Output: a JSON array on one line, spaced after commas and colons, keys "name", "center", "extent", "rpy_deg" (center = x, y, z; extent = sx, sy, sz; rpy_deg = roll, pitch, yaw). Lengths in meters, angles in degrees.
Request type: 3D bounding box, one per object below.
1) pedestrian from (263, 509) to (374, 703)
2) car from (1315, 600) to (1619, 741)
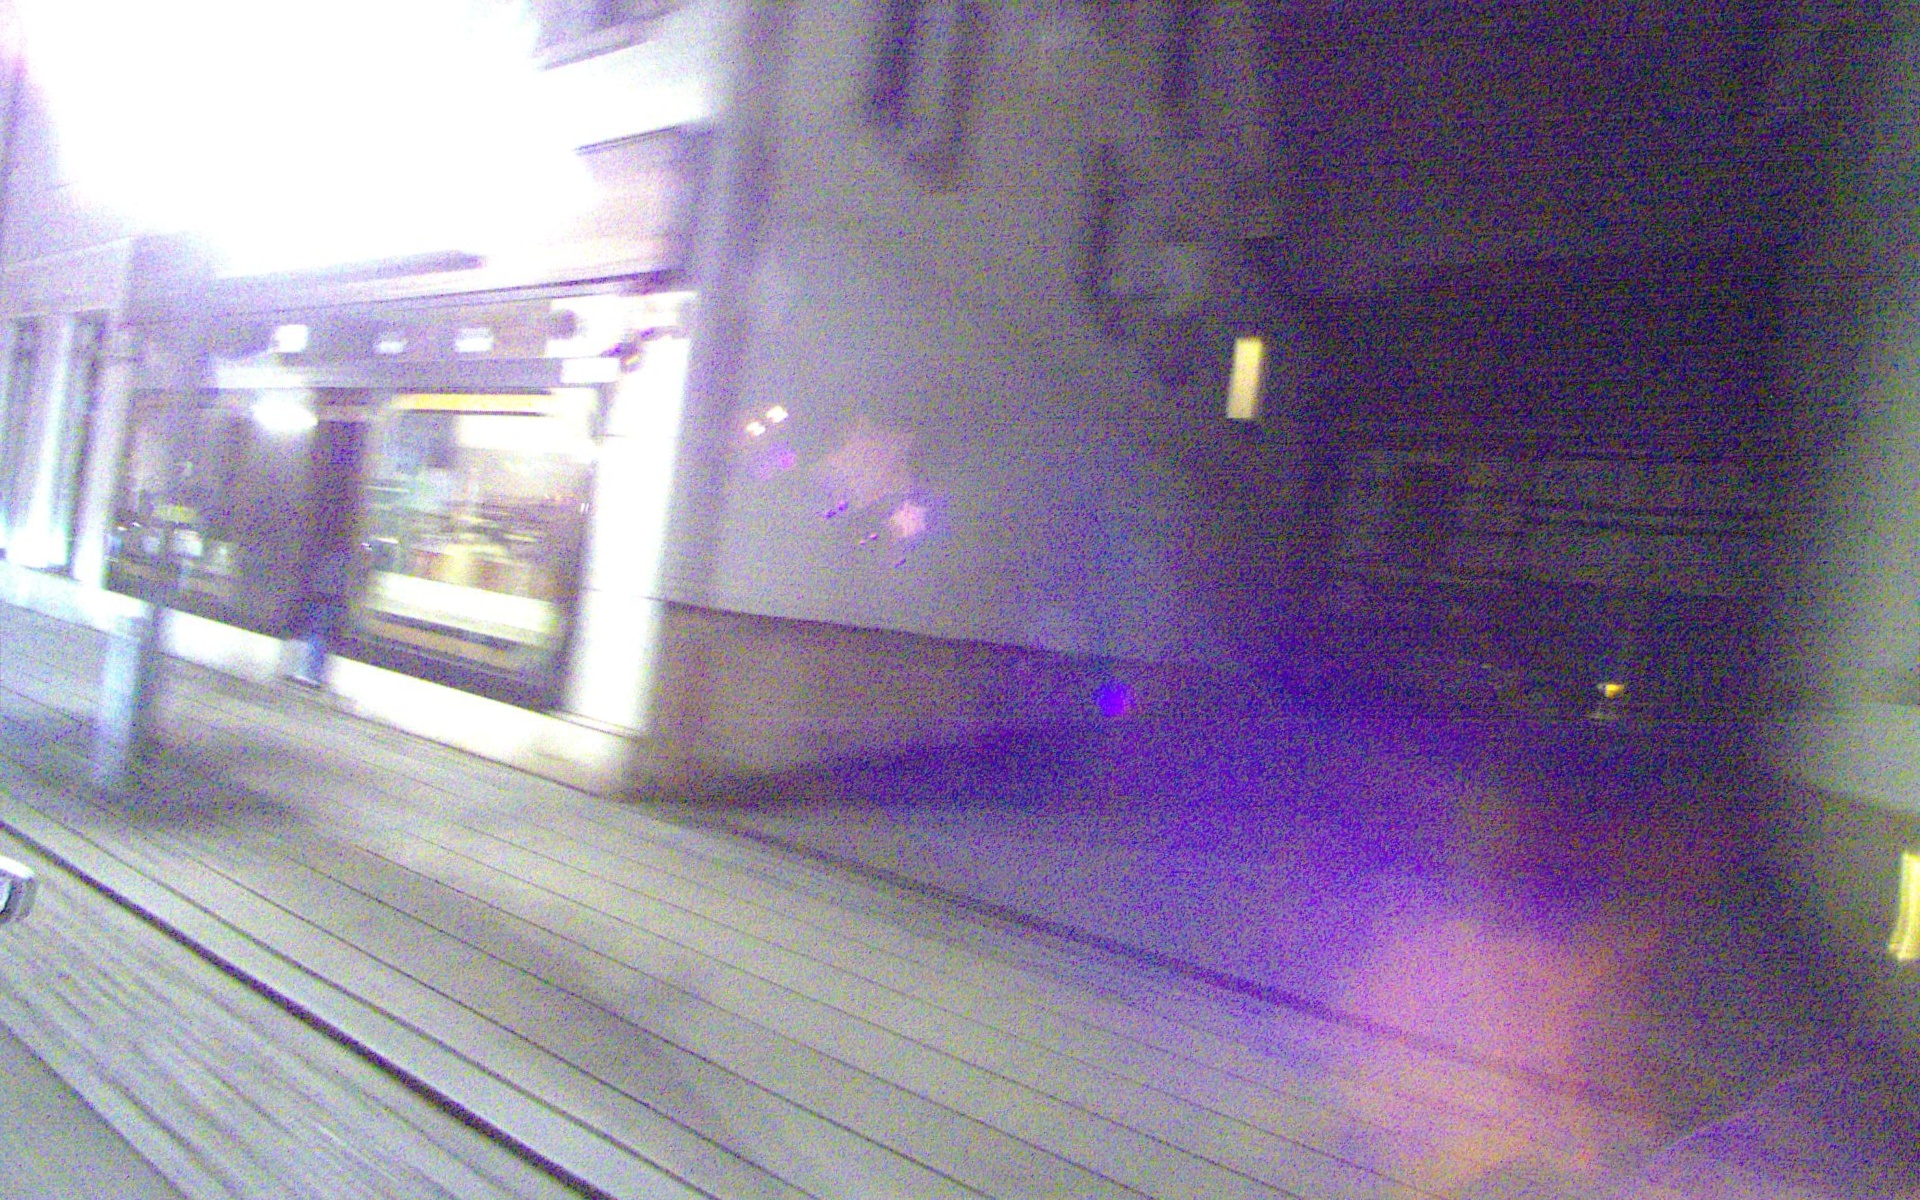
[{"name": "pedestrian", "center": [-5.473, 0.056, 8.587], "extent": [0.473, 1.565, 0.501], "rpy_deg": [7, -1, 38]}, {"name": "car", "center": [9.018, 1.140, 18.054], "extent": [4.514, 1.732, 1.860], "rpy_deg": [8, 4, 33]}]
